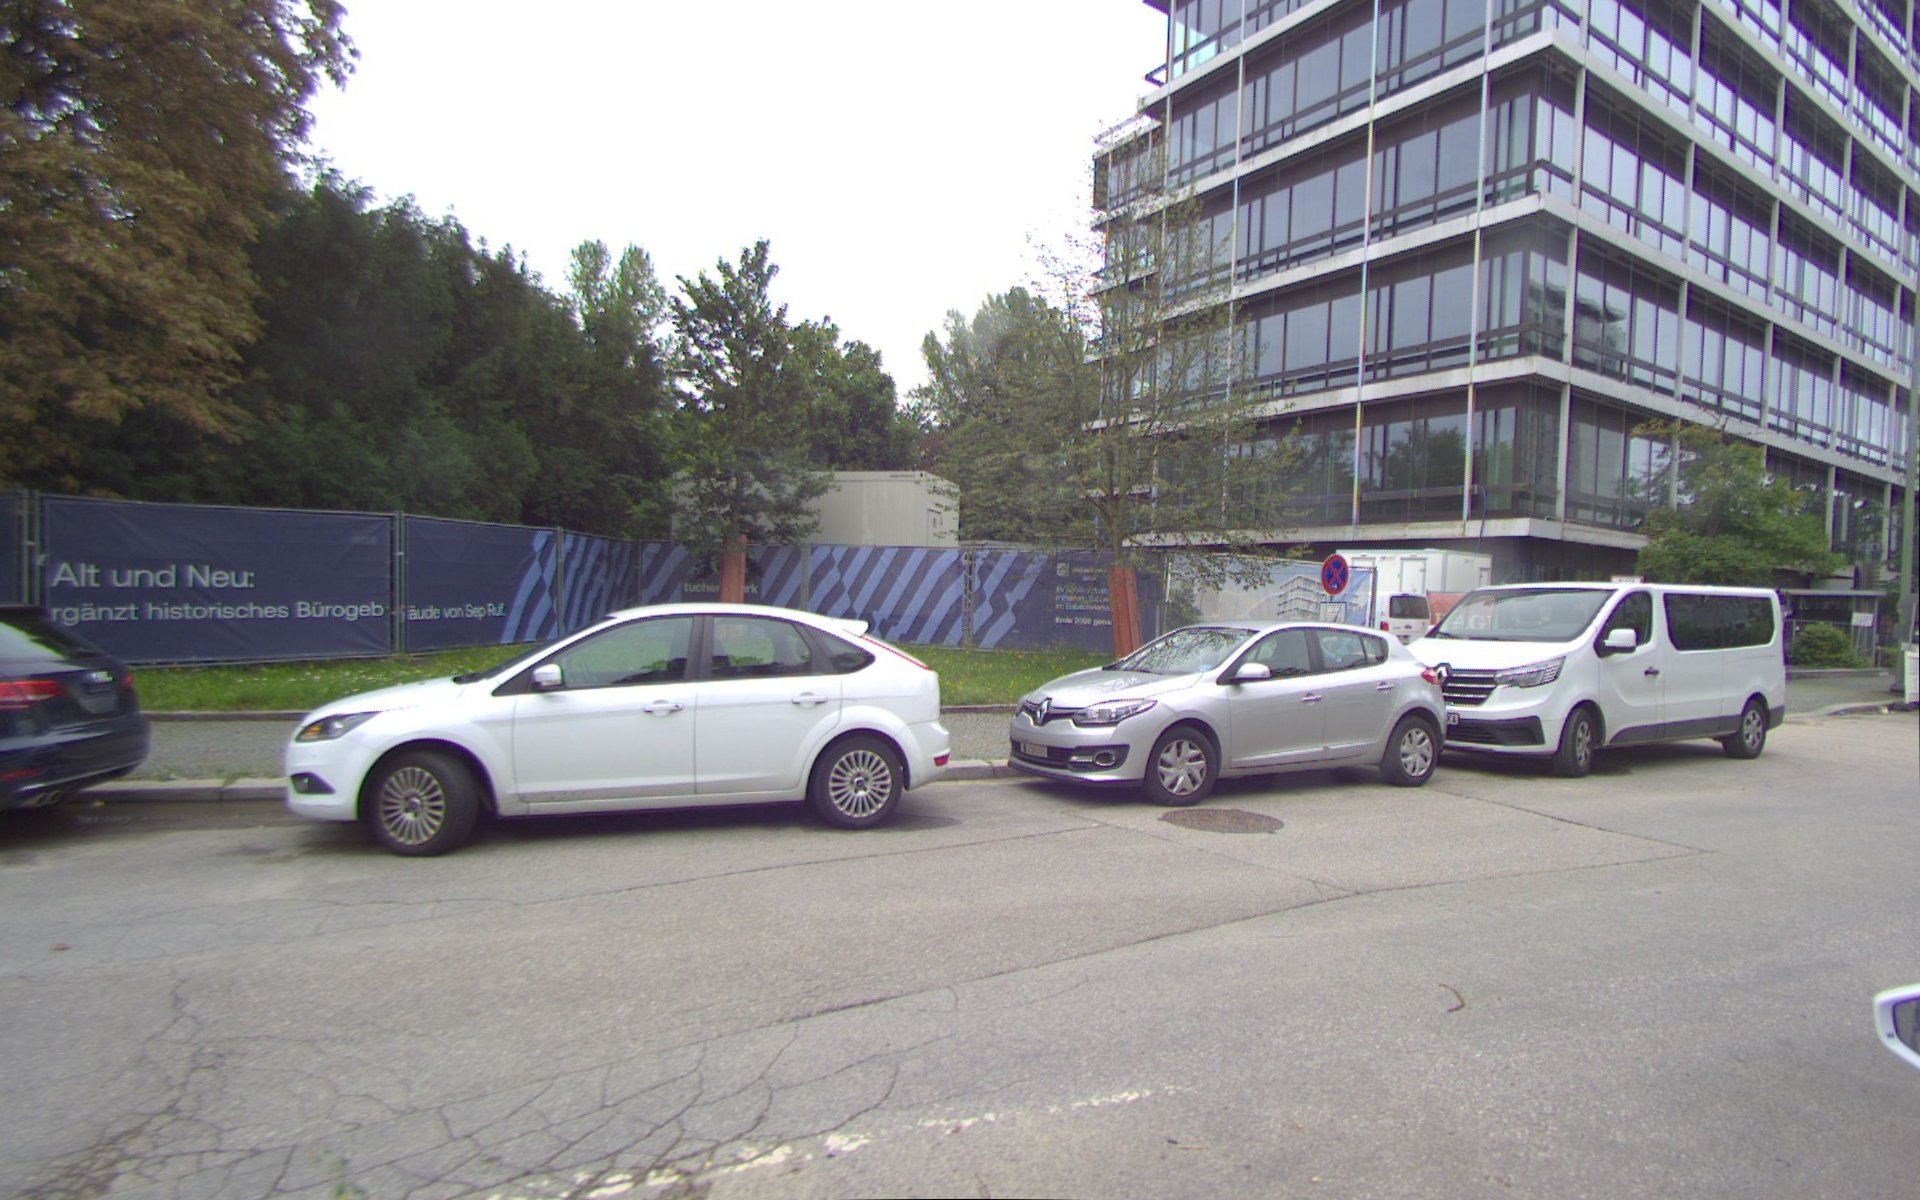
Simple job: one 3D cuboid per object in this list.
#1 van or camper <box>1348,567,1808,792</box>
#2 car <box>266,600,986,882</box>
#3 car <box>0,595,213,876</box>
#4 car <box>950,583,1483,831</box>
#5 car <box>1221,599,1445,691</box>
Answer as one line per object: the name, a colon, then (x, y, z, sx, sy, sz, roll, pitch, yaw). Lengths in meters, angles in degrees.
van or camper: (7.003, 0.761, 11.235, 5.310, 2.040, 1.985, 1, 0, -28)
car: (-2.083, 0.816, 6.985, 4.158, 1.506, 1.764, 2, 0, -21)
car: (-7.096, 0.656, 5.595, 4.258, 1.456, 1.871, 2, -1, -17)
car: (2.319, 0.789, 8.982, 4.392, 1.751, 1.986, 1, 0, -27)
car: (8.647, 0.973, 23.729, 1.978, 1.947, 4.735, 1, -1, -32)
